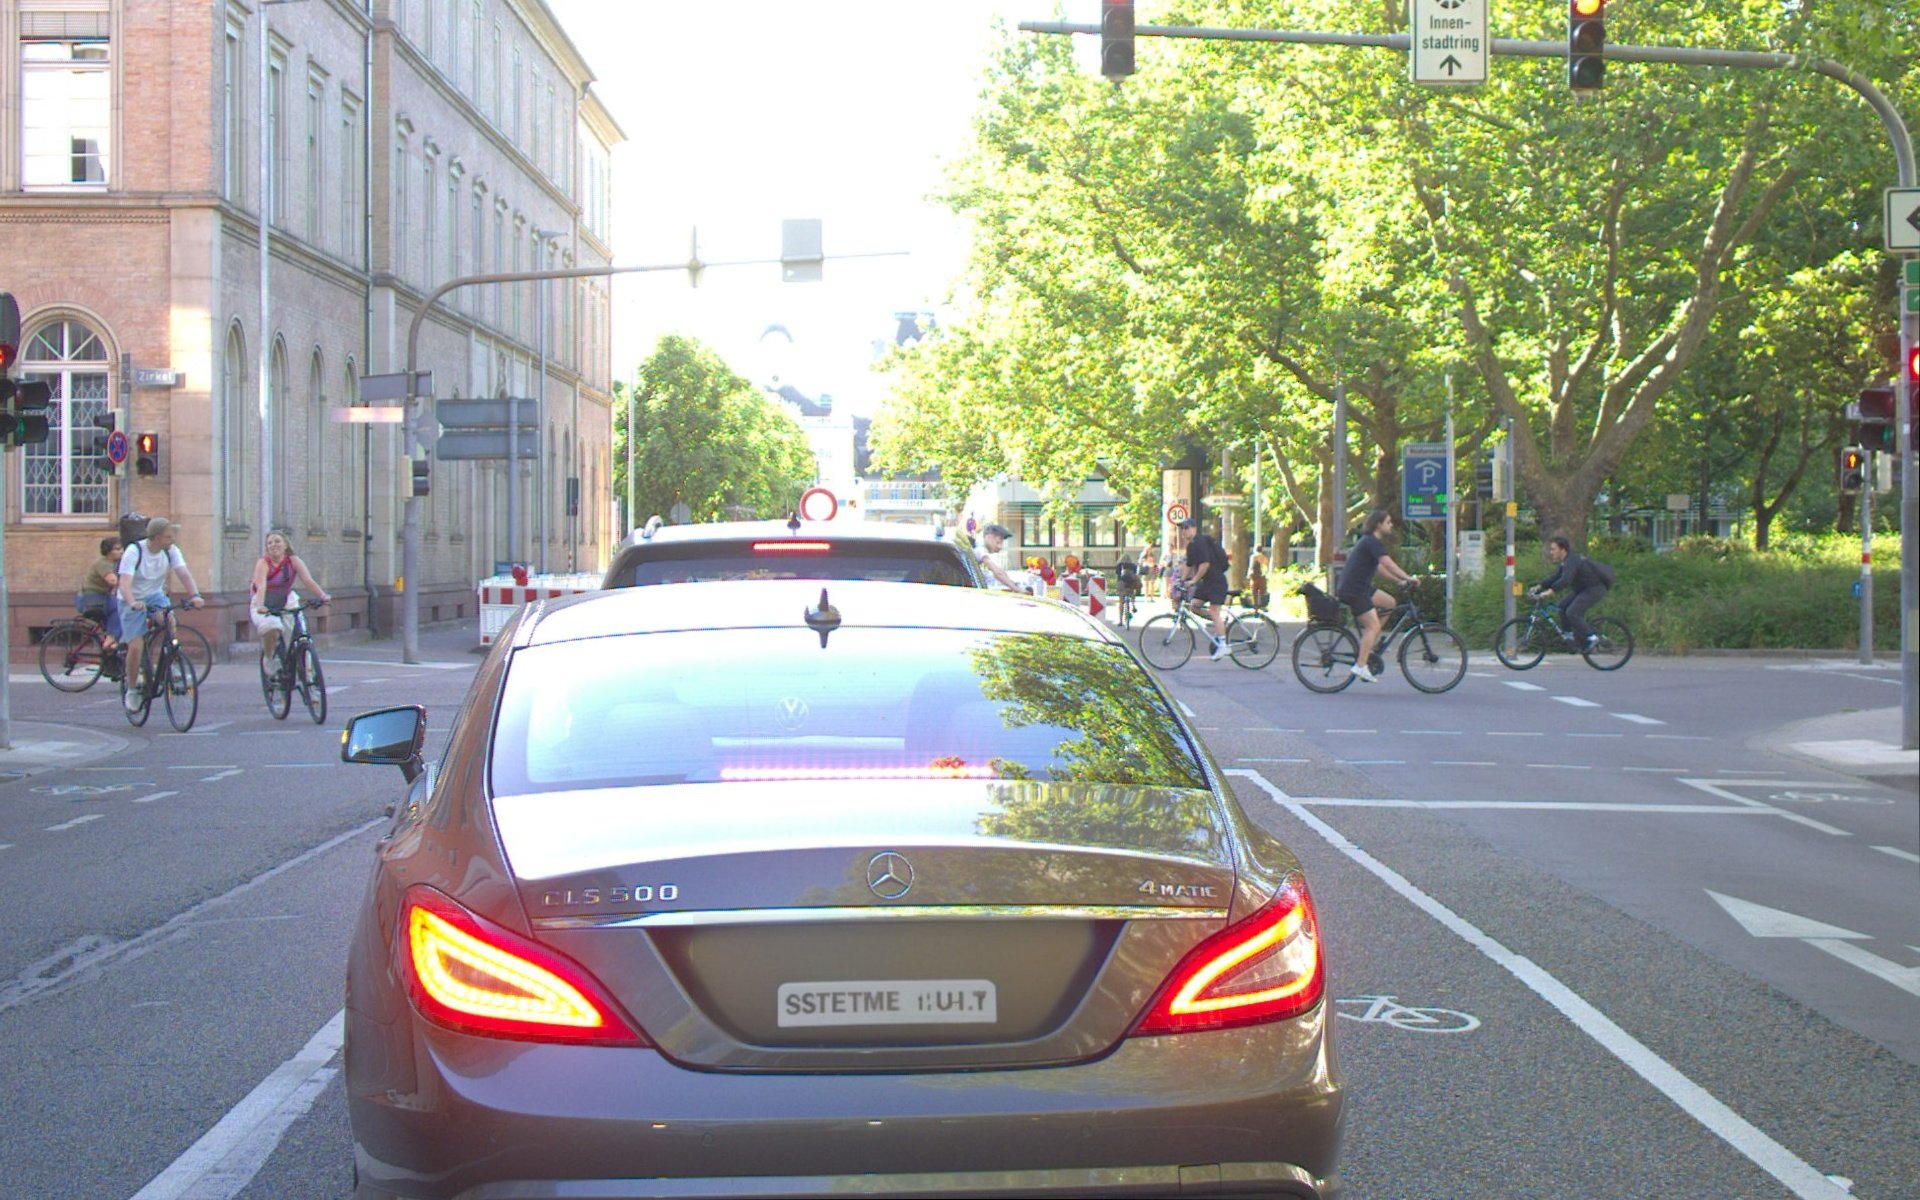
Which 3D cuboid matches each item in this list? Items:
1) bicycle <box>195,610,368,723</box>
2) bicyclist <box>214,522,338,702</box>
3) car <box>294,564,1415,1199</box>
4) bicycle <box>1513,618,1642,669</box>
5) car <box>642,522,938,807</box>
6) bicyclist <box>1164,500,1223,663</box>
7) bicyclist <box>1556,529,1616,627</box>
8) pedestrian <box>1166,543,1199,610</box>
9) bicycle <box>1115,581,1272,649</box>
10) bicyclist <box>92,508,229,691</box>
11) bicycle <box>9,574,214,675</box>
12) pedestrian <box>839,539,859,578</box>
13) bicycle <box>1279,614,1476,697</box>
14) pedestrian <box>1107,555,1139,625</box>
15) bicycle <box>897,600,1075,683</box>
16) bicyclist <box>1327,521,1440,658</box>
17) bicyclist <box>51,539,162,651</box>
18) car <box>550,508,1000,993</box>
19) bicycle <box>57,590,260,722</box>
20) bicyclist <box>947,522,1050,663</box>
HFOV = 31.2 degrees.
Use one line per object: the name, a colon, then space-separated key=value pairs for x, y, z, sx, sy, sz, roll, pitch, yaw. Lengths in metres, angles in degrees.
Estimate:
bicycle: x=-6.035 y=0.574 z=30.522 sx=0.693 sy=0.926 sz=1.862 roll=-1 pitch=1 yaw=-40
bicyclist: x=-6.094 y=0.093 z=30.594 sx=0.685 sy=1.572 sz=0.981 roll=-1 pitch=1 yaw=-41
car: x=-0.440 y=0.671 z=7.667 sx=1.803 sy=1.451 sz=4.352 roll=0 pitch=1 yaw=-8
bicycle: x=7.913 y=0.558 z=44.088 sx=1.587 sy=0.632 sz=0.496 roll=0 pitch=1 yaw=3
car: x=-1.074 y=0.364 z=23.253 sx=1.820 sy=1.756 sz=4.000 roll=0 pitch=1 yaw=-1
bicyclist: x=2.890 y=-0.231 z=42.643 sx=0.652 sy=2.007 sz=0.440 roll=0 pitch=1 yaw=-8
bicyclist: x=8.027 y=-0.287 z=44.110 sx=0.704 sy=1.256 sz=0.457 roll=0 pitch=1 yaw=4
pedestrian: x=4.742 y=-0.510 z=73.328 sx=0.648 sy=1.428 sz=0.659 roll=0 pitch=1 yaw=-1
bicycle: x=2.895 y=0.178 z=42.647 sx=1.891 sy=0.834 sz=0.458 roll=0 pitch=1 yaw=-8
bicyclist: x=-6.903 y=-0.011 z=29.683 sx=0.839 sy=1.549 sz=0.843 roll=1 pitch=1 yaw=45
bicycle: x=-8.847 y=0.250 z=35.883 sx=1.980 sy=1.024 sz=0.652 roll=0 pitch=1 yaw=1
pedestrian: x=-4.400 y=-1.648 z=136.238 sx=0.801 sy=1.571 sz=0.845 roll=0 pitch=1 yaw=-1
bicycle: x=4.330 y=0.573 z=35.705 sx=1.974 sy=0.834 sz=0.677 roll=0 pitch=1 yaw=2
pedestrian: x=3.484 y=-0.222 z=73.636 sx=0.648 sy=1.498 sz=0.637 roll=0 pitch=1 yaw=-1
bicycle: x=0.293 y=0.445 z=37.350 sx=1.893 sy=0.879 sz=0.725 roll=0 pitch=1 yaw=4
bicyclist: x=4.391 y=-0.114 z=35.694 sx=1.103 sy=1.398 sz=0.657 roll=0 pitch=1 yaw=2
bicyclist: x=-8.899 y=-0.055 z=35.854 sx=0.991 sy=1.150 sz=0.620 roll=0 pitch=1 yaw=2
car: x=-0.718 y=0.484 z=13.672 sx=1.517 sy=1.641 sz=3.881 roll=1 pitch=1 yaw=-3
bicycle: x=-6.936 y=0.469 z=29.705 sx=1.835 sy=1.075 sz=0.863 roll=1 pitch=1 yaw=45
bicyclist: x=0.421 y=-0.085 z=37.345 sx=1.075 sy=1.514 sz=0.716 roll=0 pitch=1 yaw=5
